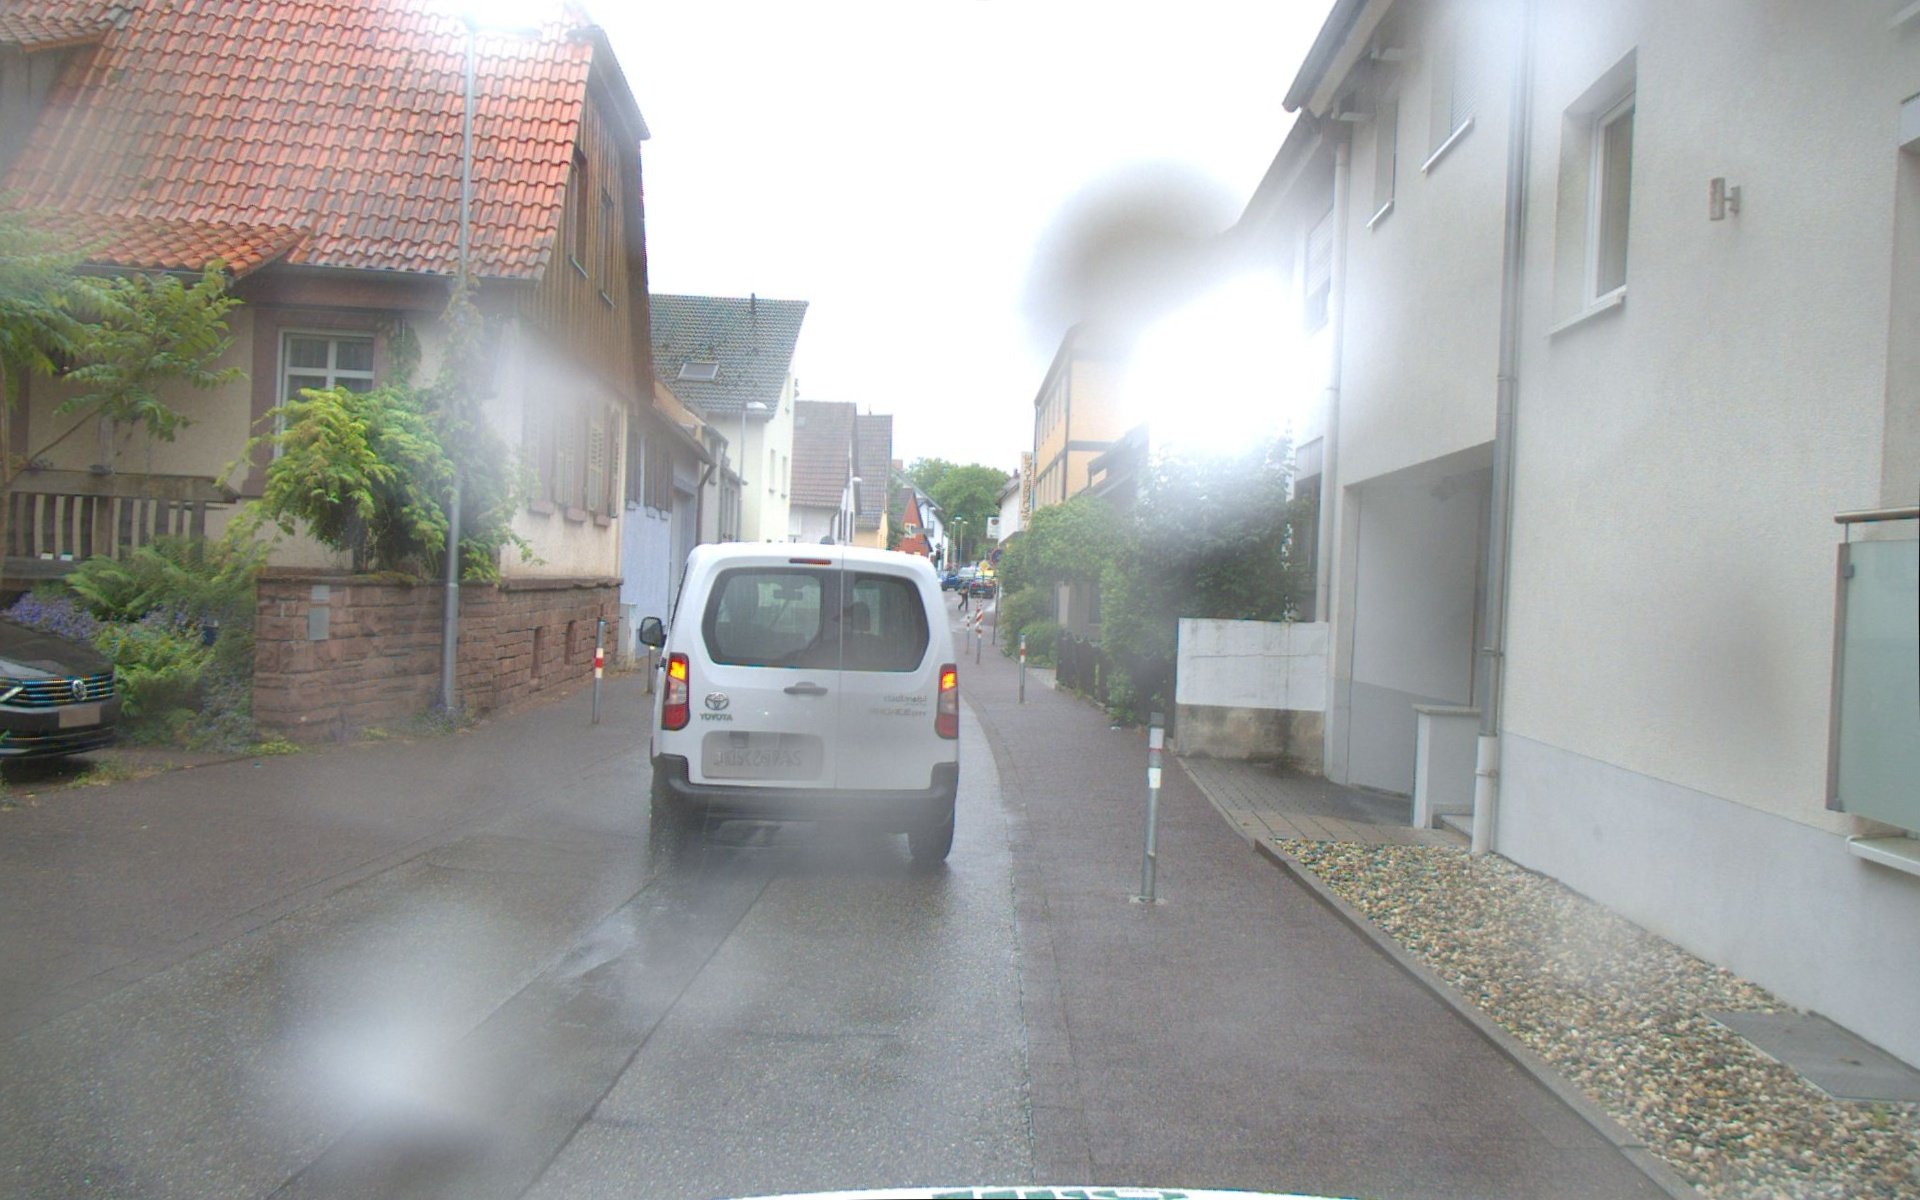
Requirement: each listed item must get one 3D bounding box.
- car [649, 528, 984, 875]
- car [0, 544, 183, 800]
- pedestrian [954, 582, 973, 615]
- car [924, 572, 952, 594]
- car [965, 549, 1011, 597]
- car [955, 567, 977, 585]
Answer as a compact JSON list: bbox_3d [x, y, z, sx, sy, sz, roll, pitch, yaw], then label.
[{"bbox_3d":[-1.088,0.535,10.763,1.742,1.811,3.991,1,0,-10],"label":"car"},{"bbox_3d":[-7.537,0.246,10.913,3.905,1.449,1.737,7,0,6],"label":"car"},{"bbox_3d":[0.218,-0.088,97.185,1.029,1.926,0.877,1,0,-2],"label":"pedestrian"},{"bbox_3d":[-1.751,-1.378,131.991,1.951,1.586,3.434,-1,2,4],"label":"car"},{"bbox_3d":[1.261,-1.169,73.477,1.952,2.049,4.001,1,0,1],"label":"car"},{"bbox_3d":[0.570,-2.225,153.634,1.555,1.466,3.768,4,0,5],"label":"car"}]
